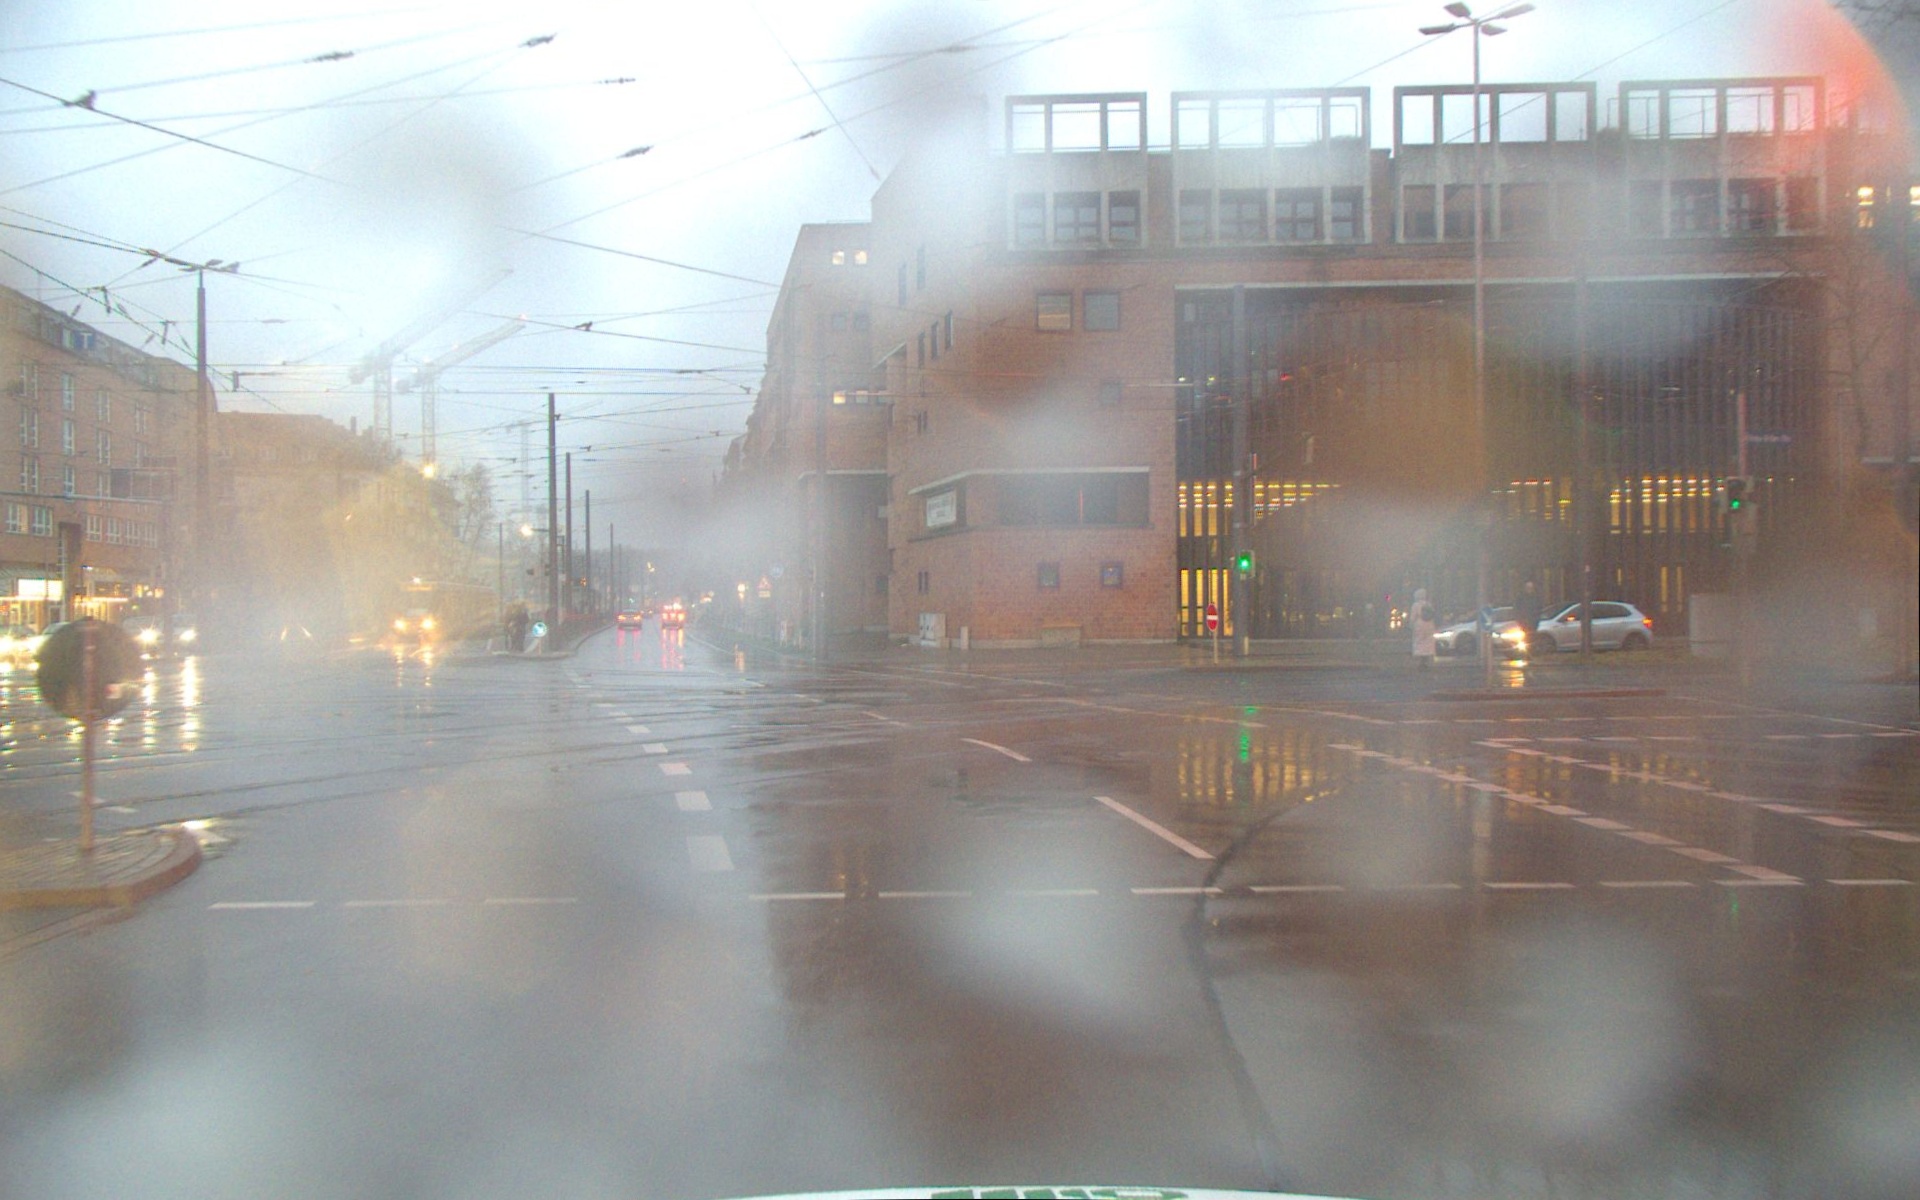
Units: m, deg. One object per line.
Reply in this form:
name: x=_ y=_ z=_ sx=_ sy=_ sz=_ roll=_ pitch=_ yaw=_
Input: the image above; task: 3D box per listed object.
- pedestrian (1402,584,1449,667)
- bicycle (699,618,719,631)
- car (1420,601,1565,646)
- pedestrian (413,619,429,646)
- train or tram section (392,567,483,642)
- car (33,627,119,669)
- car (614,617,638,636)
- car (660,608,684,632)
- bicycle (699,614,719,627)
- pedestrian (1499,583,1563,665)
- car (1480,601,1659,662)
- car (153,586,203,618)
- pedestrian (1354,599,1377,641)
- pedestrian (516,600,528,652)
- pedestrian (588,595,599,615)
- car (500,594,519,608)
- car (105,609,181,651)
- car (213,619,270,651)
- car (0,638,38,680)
pedestrian: x=10.317 y=0.560 z=36.642 sx=0.721 sy=1.818 sz=0.732 roll=-1 pitch=0 yaw=-14
bicycle: x=-22.454 y=2.209 z=147.840 sx=1.699 sy=1.073 sz=0.370 roll=-2 pitch=0 yaw=-12
car: x=16.578 y=0.717 z=51.563 sx=3.907 sy=1.333 sz=1.811 roll=0 pitch=0 yaw=-9
pedestrian: x=-23.611 y=1.403 z=72.390 sx=0.569 sy=1.173 sz=0.489 roll=1 pitch=-1 yaw=-9
train or tram section: x=-27.420 y=0.267 z=87.312 sx=2.896 sy=3.652 sz=12.225 roll=1 pitch=-1 yaw=-10
car: x=-33.970 y=1.818 z=63.639 sx=1.637 sy=1.521 sz=4.191 roll=-1 pitch=0 yaw=-9
car: x=-26.526 y=2.109 z=131.442 sx=1.751 sy=1.492 sz=3.142 roll=-1 pitch=0 yaw=-9
car: x=-24.892 y=1.692 z=143.029 sx=1.956 sy=2.049 sz=3.992 roll=-1 pitch=0 yaw=-9
bicycle: x=-22.372 y=1.857 z=147.391 sx=1.699 sy=1.073 sz=0.370 roll=-2 pitch=0 yaw=-12
pedestrian: x=12.885 y=0.534 z=37.332 sx=1.127 sy=1.818 sz=0.776 roll=-1 pitch=0 yaw=-10
car: x=15.588 y=0.785 z=42.382 sx=3.907 sy=1.364 sz=1.811 roll=-2 pitch=0 yaw=-8
car: x=-51.153 y=0.153 z=108.303 sx=1.958 sy=2.049 sz=3.990 roll=1 pitch=-1 yaw=-11
pedestrian: x=14.123 y=0.693 z=57.567 sx=0.721 sy=1.413 sz=0.738 roll=-1 pitch=0 yaw=11
pedestrian: x=-16.137 y=0.955 z=60.901 sx=0.405 sy=1.878 sz=0.667 roll=0 pitch=-1 yaw=-15
pedestrian: x=-27.202 y=0.377 z=122.742 sx=0.670 sy=1.542 sz=0.614 roll=0 pitch=-1 yaw=-23
car: x=-46.554 y=0.108 z=170.857 sx=1.652 sy=1.378 sz=3.536 roll=1 pitch=-1 yaw=-11
car: x=-35.767 y=1.295 z=72.510 sx=1.796 sy=1.739 sz=4.693 roll=0 pitch=0 yaw=-11
car: x=-32.548 y=1.577 z=74.978 sx=1.652 sy=1.378 sz=3.536 roll=1 pitch=-1 yaw=-11
car: x=-37.172 y=2.254 z=63.894 sx=1.553 sy=1.521 sz=3.588 roll=-1 pitch=0 yaw=-9
